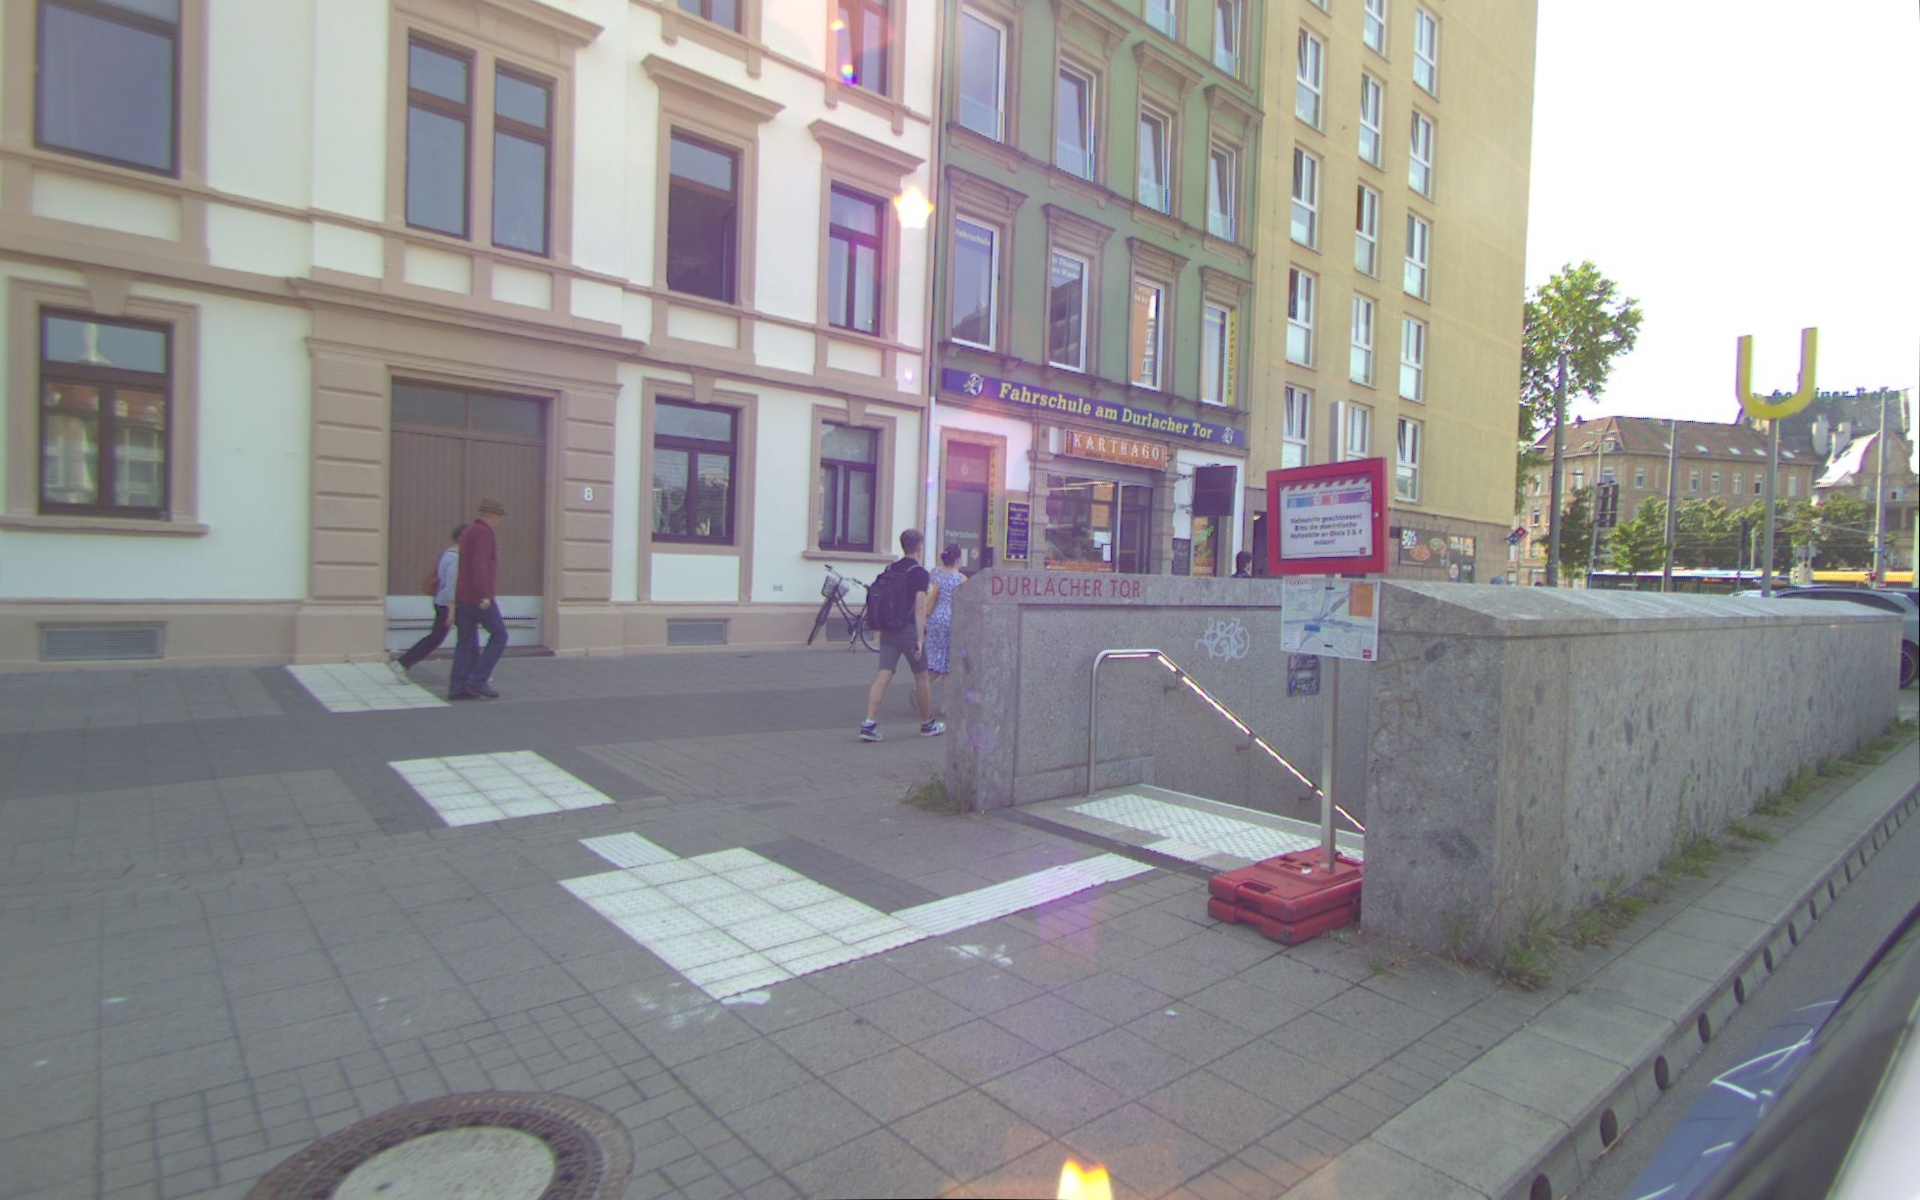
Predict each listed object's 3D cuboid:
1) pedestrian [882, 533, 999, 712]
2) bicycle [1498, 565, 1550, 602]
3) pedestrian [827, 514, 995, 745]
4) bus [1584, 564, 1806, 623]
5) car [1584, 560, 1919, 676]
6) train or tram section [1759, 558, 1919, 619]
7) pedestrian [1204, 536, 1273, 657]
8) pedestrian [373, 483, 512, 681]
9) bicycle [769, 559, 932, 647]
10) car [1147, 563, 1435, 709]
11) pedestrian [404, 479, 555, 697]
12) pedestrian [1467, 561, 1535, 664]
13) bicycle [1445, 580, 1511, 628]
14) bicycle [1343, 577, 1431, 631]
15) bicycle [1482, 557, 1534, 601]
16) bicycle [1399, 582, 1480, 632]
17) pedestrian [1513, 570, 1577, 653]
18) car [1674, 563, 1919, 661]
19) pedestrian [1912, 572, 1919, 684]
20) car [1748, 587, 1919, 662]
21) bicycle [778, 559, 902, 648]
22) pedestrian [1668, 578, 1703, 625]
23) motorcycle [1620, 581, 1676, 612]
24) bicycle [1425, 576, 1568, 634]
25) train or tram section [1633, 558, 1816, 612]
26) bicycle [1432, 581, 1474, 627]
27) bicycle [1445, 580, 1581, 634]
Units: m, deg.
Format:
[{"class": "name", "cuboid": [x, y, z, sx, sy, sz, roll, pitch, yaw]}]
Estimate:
[{"class": "pedestrian", "cuboid": [-0.170, 0.179, 9.714, 0.841, 1.601, 0.966, 2, 2, 16]}, {"class": "bicycle", "cuboid": [19.867, -0.577, 35.615, 2.392, 1.254, 0.793, 0, 2, -41]}, {"class": "pedestrian", "cuboid": [-0.407, 0.220, 8.249, 0.952, 1.750, 0.853, 3, 1, -34]}, {"class": "bus", "cuboid": [43.274, -0.564, 60.442, 2.677, 3.102, 12.107, 2, 2, -10]}, {"class": "car", "cuboid": [13.809, 0.251, 17.516, 4.587, 1.734, 2.040, 2, 2, 8]}, {"class": "train or tram section", "cuboid": [57.200, -0.813, 63.742, 2.542, 3.604, 12.240, 2, 2, -9]}, {"class": "pedestrian", "cuboid": [3.864, -0.066, 14.047, 0.841, 1.601, 0.966, 2, 2, 16]}, {"class": "pedestrian", "cuboid": [-4.974, -0.167, 9.730, 1.000, 1.796, 0.685, 2, 1, -41]}, {"class": "bicycle", "cuboid": [-1.538, 0.071, 14.673, 2.426, 1.161, 0.481, 3, 0, -39]}, {"class": "car", "cuboid": [4.031, 0.375, 12.085, 3.556, 1.458, 1.634, 1, 1, -41]}, {"class": "pedestrian", "cuboid": [-4.247, -0.103, 8.953, 1.000, 1.796, 0.685, 2, 1, -41]}, {"class": "pedestrian", "cuboid": [9.263, 0.200, 17.337, 0.926, 1.706, 0.672, 1, 2, -41]}, {"class": "bicycle", "cuboid": [14.412, 0.115, 28.150, 1.514, 1.254, 0.593, 2, 1, -8]}, {"class": "bicycle", "cuboid": [10.602, 0.093, 25.083, 2.377, 1.253, 0.941, 1, 2, -38]}, {"class": "bicycle", "cuboid": [16.464, -0.615, 30.398, 1.926, 1.262, 0.729, 1, 2, -42]}, {"class": "bicycle", "cuboid": [12.751, 0.176, 26.868, 2.377, 1.253, 0.941, 1, 2, -38]}, {"class": "pedestrian", "cuboid": [11.805, 0.206, 20.447, 0.841, 1.601, 0.966, 2, 2, 16]}, {"class": "car", "cuboid": [16.931, 0.197, 19.790, 4.319, 1.708, 1.983, 2, 2, 8]}, {"class": "pedestrian", "cuboid": [15.546, 0.438, 15.661, 0.856, 1.774, 0.868, 0, -2, 16]}, {"class": "car", "cuboid": [19.506, 0.521, 21.660, 3.723, 1.519, 1.802, 1, 0, 9]}, {"class": "bicycle", "cuboid": [-1.705, 0.042, 14.604, 1.815, 1.198, 0.459, 0, 2, -41]}, {"class": "pedestrian", "cuboid": [25.687, 0.043, 35.819, 0.934, 1.628, 0.792, 0, 3, -44]}, {"class": "motorcycle", "cuboid": [26.583, -0.138, 39.086, 2.069, 1.151, 0.914, 1, 2, -28]}, {"class": "bicycle", "cuboid": [14.900, 0.116, 28.218, 3.314, 1.422, 0.900, 3, 2, 14]}, {"class": "train or tram section", "cuboid": [55.606, -1.245, 74.318, 2.542, 3.604, 12.240, 2, 2, -9]}, {"class": "bicycle", "cuboid": [13.908, 0.110, 28.541, 1.796, 1.254, 0.409, 1, 2, -43]}, {"class": "bicycle", "cuboid": [16.245, 0.178, 29.820, 3.314, 1.422, 0.900, 3, 2, 14]}]
